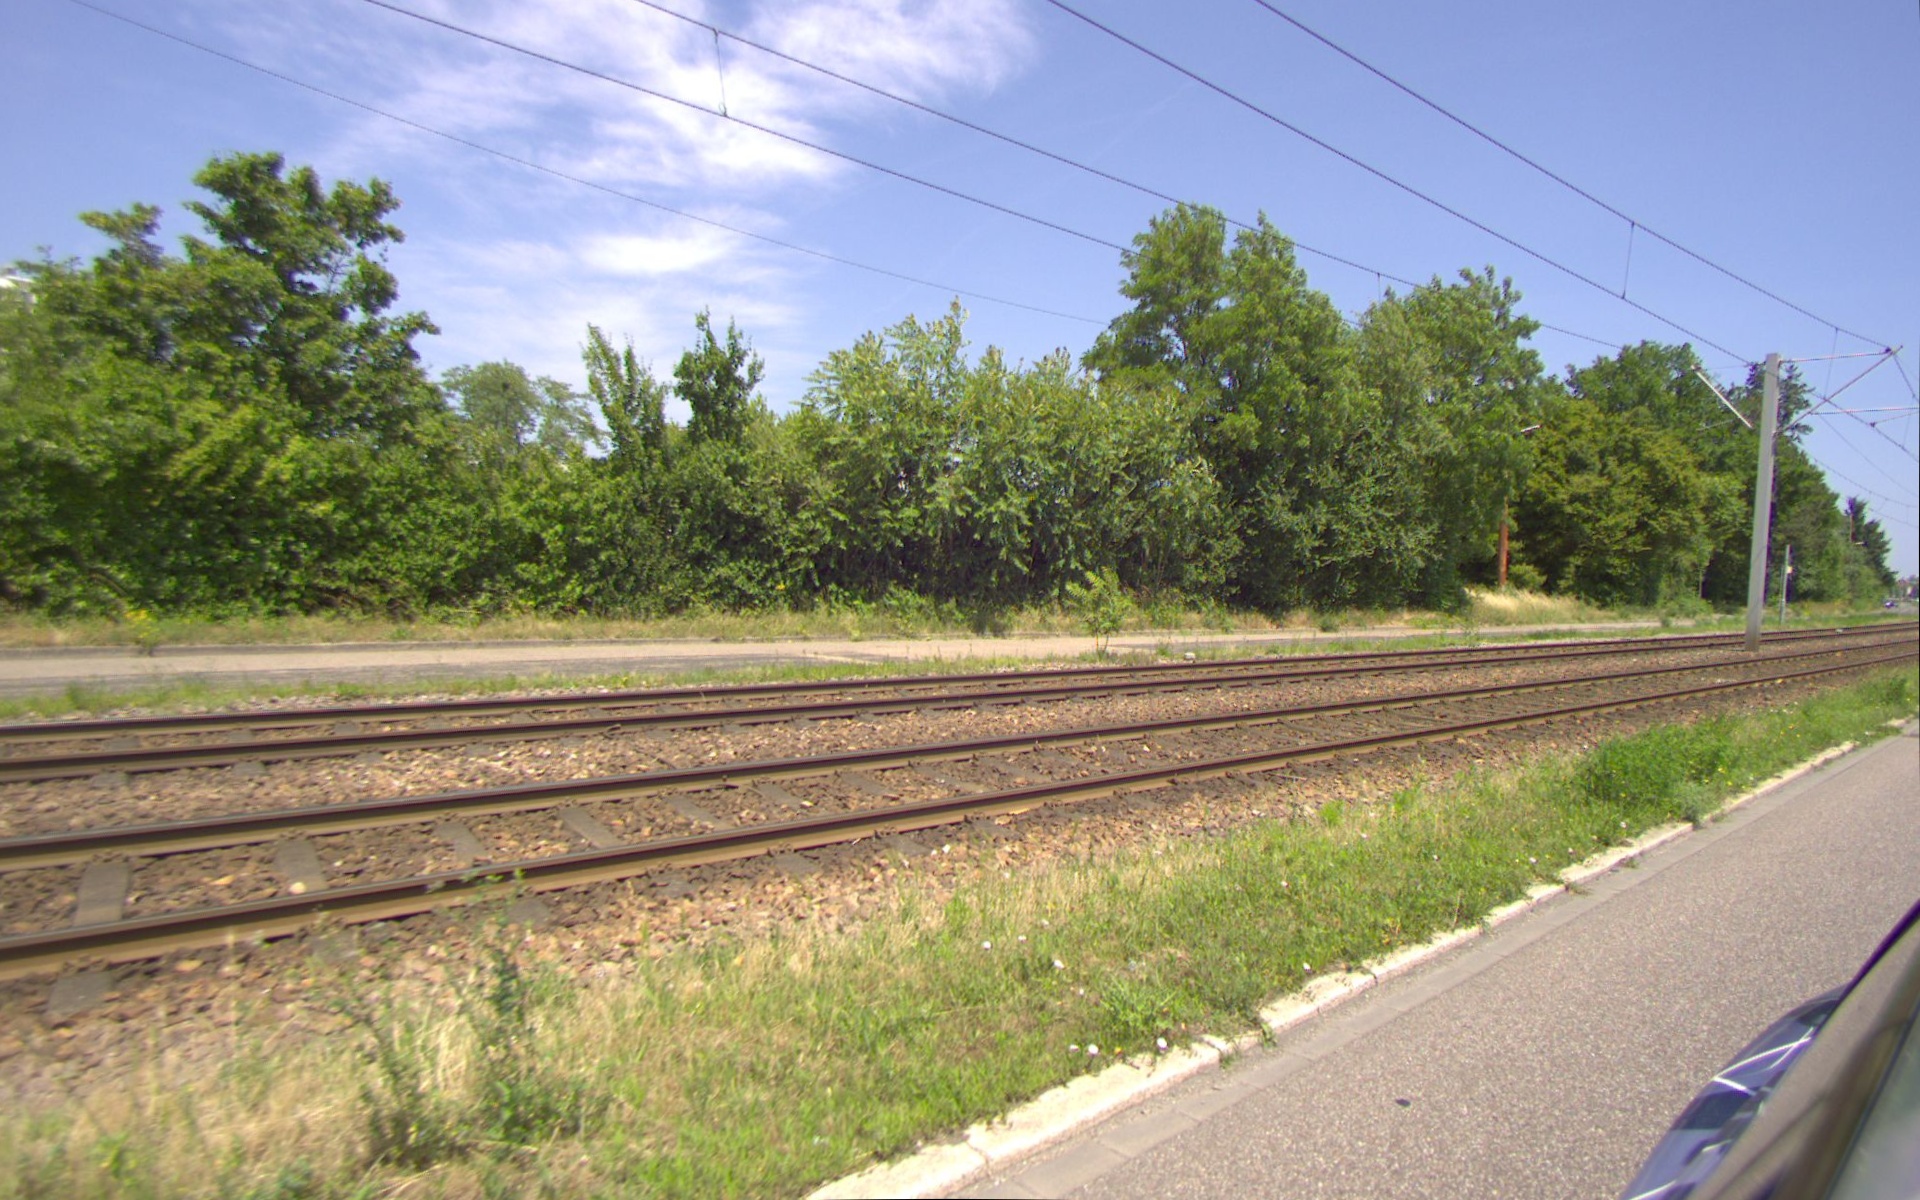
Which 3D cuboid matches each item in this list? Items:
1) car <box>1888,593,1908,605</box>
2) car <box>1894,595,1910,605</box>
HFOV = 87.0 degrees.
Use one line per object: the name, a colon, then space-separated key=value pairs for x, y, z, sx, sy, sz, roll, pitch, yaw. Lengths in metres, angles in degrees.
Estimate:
car: x=142.993 y=-0.159 z=154.218 sx=3.933 sy=1.742 sz=1.995 roll=-1 pitch=1 yaw=-43
car: x=165.130 y=-0.038 z=177.412 sx=1.941 sy=1.716 sz=3.937 roll=0 pitch=1 yaw=44
